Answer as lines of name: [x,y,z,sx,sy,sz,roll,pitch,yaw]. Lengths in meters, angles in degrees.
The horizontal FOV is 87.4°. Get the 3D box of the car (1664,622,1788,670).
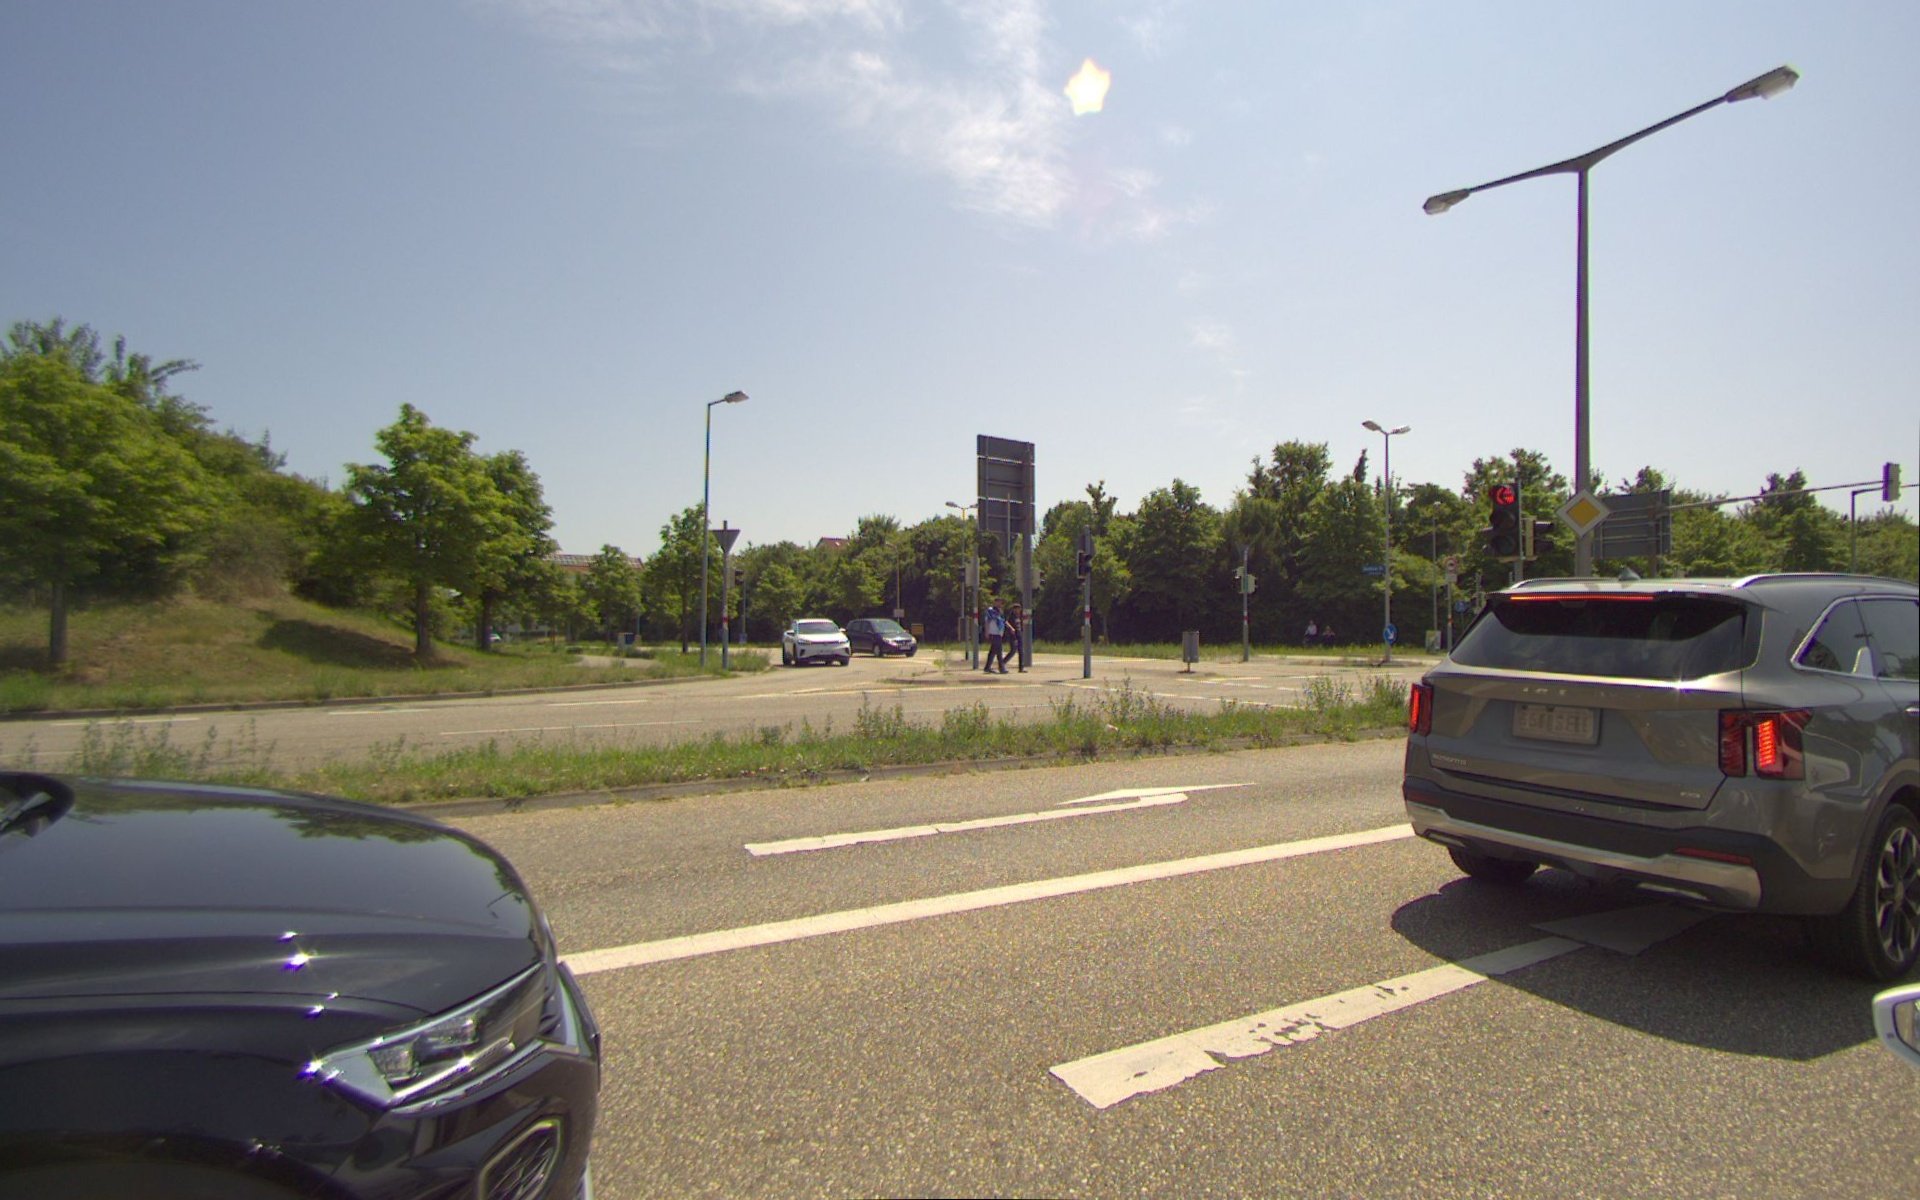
car: [24.944,1.456,32.694,4.120,1.475,1.814,1,-1,-30]

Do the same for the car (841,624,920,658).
car: [-3.427,1.721,42.537,1.685,1.353,3.964,1,-2,-33]

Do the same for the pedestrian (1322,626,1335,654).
pedestrian: [20.452,2.205,55.730,0.606,1.523,0.798,0,-1,24]

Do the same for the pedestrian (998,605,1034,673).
pedestrian: [1.427,0.990,25.693,0.761,1.722,0.723,0,-1,-11]

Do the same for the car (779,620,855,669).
car: [-5.076,1.503,35.192,1.850,1.522,4.292,-2,-1,-18]

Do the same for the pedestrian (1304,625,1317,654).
pedestrian: [19.585,2.214,56.183,0.606,1.624,0.798,-1,-1,24]

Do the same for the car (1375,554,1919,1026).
car: [4.547,0.741,5.545,4.590,1.684,1.795,1,-1,-30]

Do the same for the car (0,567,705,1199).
car: [-2.540,0.686,1.359,3.924,1.532,1.726,2,0,-30]

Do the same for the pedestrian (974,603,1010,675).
pedestrian: [0.803,0.970,25.153,0.779,1.759,0.582,0,-1,-11]
